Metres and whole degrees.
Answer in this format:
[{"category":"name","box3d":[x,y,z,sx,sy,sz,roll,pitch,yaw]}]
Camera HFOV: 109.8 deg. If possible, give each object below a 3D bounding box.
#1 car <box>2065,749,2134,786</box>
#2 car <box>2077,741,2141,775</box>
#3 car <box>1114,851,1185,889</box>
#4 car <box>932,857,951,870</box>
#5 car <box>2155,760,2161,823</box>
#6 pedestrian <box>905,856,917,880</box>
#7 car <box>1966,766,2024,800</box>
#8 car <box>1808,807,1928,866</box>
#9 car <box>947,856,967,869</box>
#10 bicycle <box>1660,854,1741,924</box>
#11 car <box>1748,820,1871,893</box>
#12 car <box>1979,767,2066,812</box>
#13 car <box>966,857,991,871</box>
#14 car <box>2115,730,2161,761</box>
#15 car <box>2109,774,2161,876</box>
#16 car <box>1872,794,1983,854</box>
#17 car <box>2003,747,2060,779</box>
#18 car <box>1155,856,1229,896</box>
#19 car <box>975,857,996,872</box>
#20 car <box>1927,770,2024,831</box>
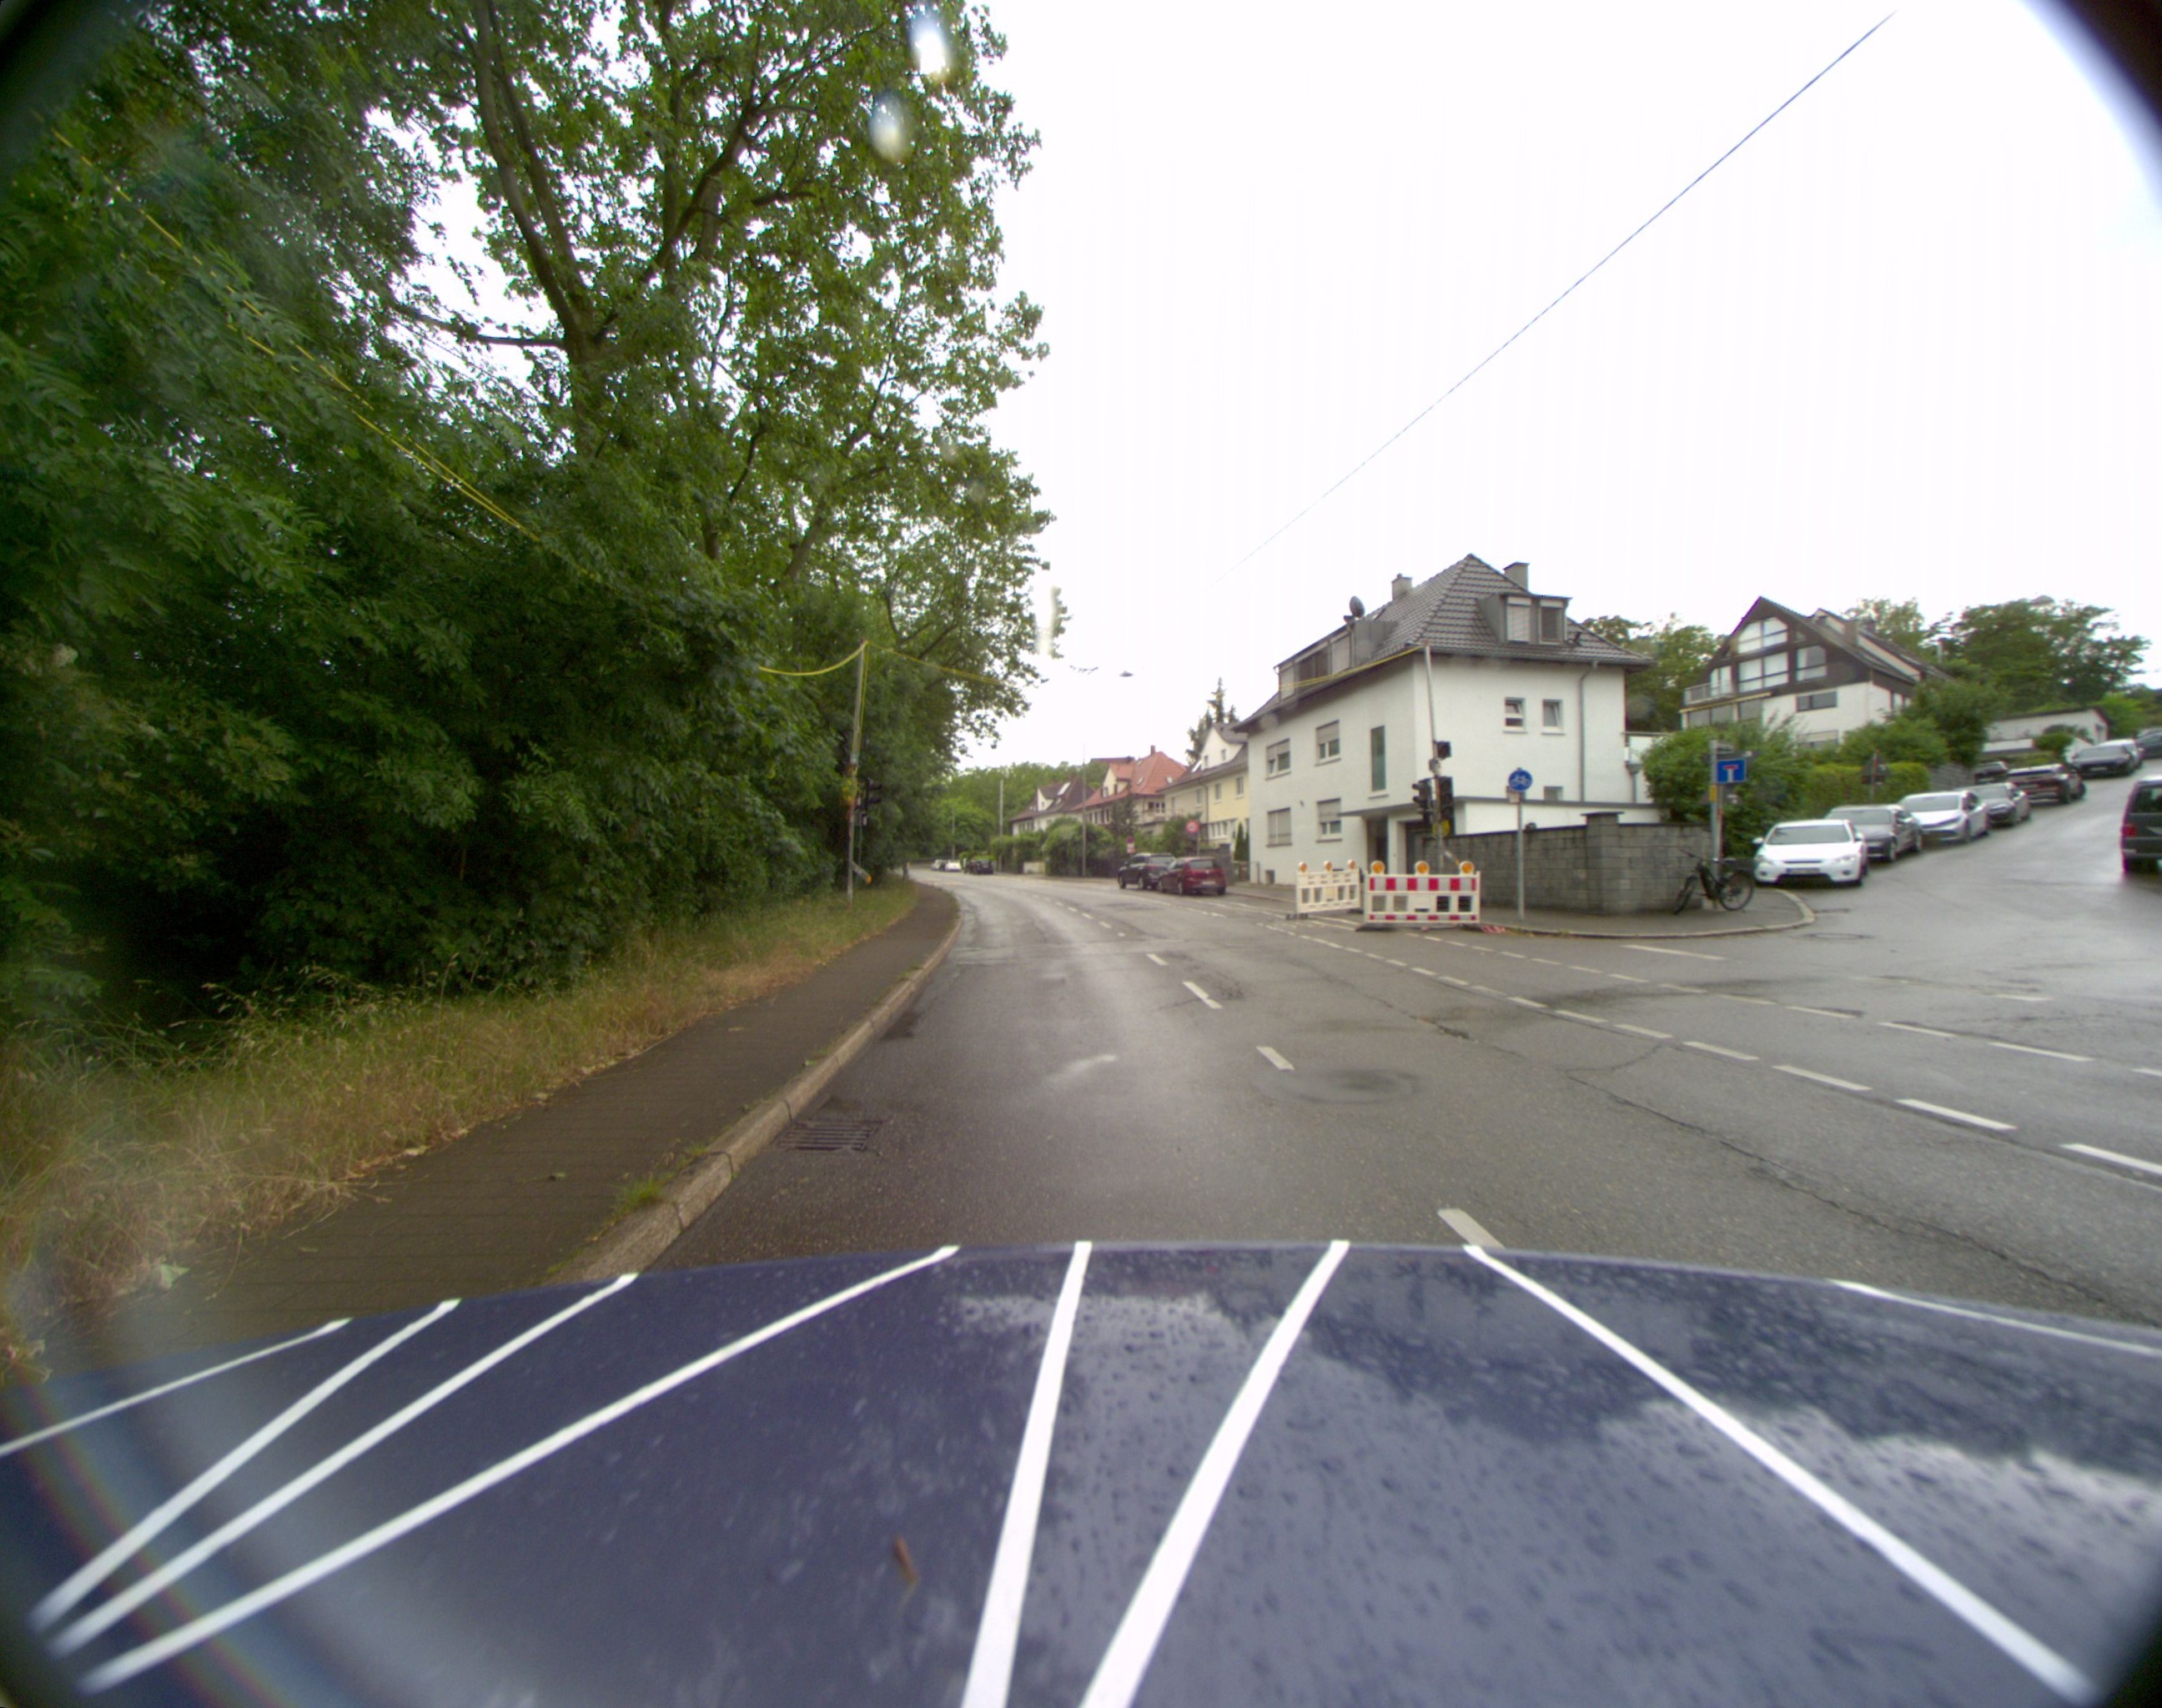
[{"category":"car","box3d":[54.087,-4.583,40.337,4.006,1.711,1.886,-4,3,-32]},{"category":"car","box3d":[59.208,-5.487,43.740,4.006,1.711,1.886,-4,3,-32]},{"category":"car","box3d":[3.086,0.730,35.002,1.761,1.648,4.399,1,-1,-16]},{"category":"car","box3d":[-18.989,1.321,103.282,1.739,1.414,4.274,-5,4,-20]},{"category":"car","box3d":[33.035,-1.956,22.106,4.005,1.736,1.864,-7,4,-32]},{"category":"pedestrian","box3d":[-11.339,0.917,50.667,0.644,1.602,0.668,-1,2,-19]},{"category":"car","box3d":[51.864,-4.022,43.181,4.007,1.711,1.886,-5,3,-42]},{"category":"car","box3d":[22.683,-0.536,21.866,4.006,1.458,1.886,-4,3,-36]},{"category":"car","box3d":[-15.320,1.055,93.799,1.705,1.459,3.704,-1,0,-20]},{"category":"bicycle","box3d":[11.163,0.602,13.682,1.520,1.118,0.462,-4,3,-23]},{"category":"car","box3d":[17.696,0.003,18.392,4.007,1.458,1.886,-5,3,-42]},{"category":"car","box3d":[40.049,-2.761,32.314,4.006,1.711,1.886,-4,3,-32]},{"category":"car","box3d":[-10.686,1.006,79.112,1.695,1.410,4.208,1,-1,-21]},{"category":"car","box3d":[68.448,-6.925,47.694,1.894,1.711,3.990,-4,3,-30]},{"category":"car","box3d":[23.689,-0.702,16.084,4.005,1.909,1.995,-7,4,-32]},{"category":"car","box3d":[27.031,-0.967,24.238,4.006,1.711,1.886,-4,3,-35]},{"category":"car","box3d":[57.387,-5.451,45.949,4.007,1.711,1.886,-5,3,-42]},{"category":"car","box3d":[4.295,0.816,30.018,1.622,1.432,4.226,-1,0,-10]},{"category":"car","box3d":[-9.512,1.004,75.526,1.525,1.445,3.025,1,-1,-18]},{"category":"car","box3d":[32.118,-1.925,27.258,4.006,1.981,1.886,-4,3,-35]}]
